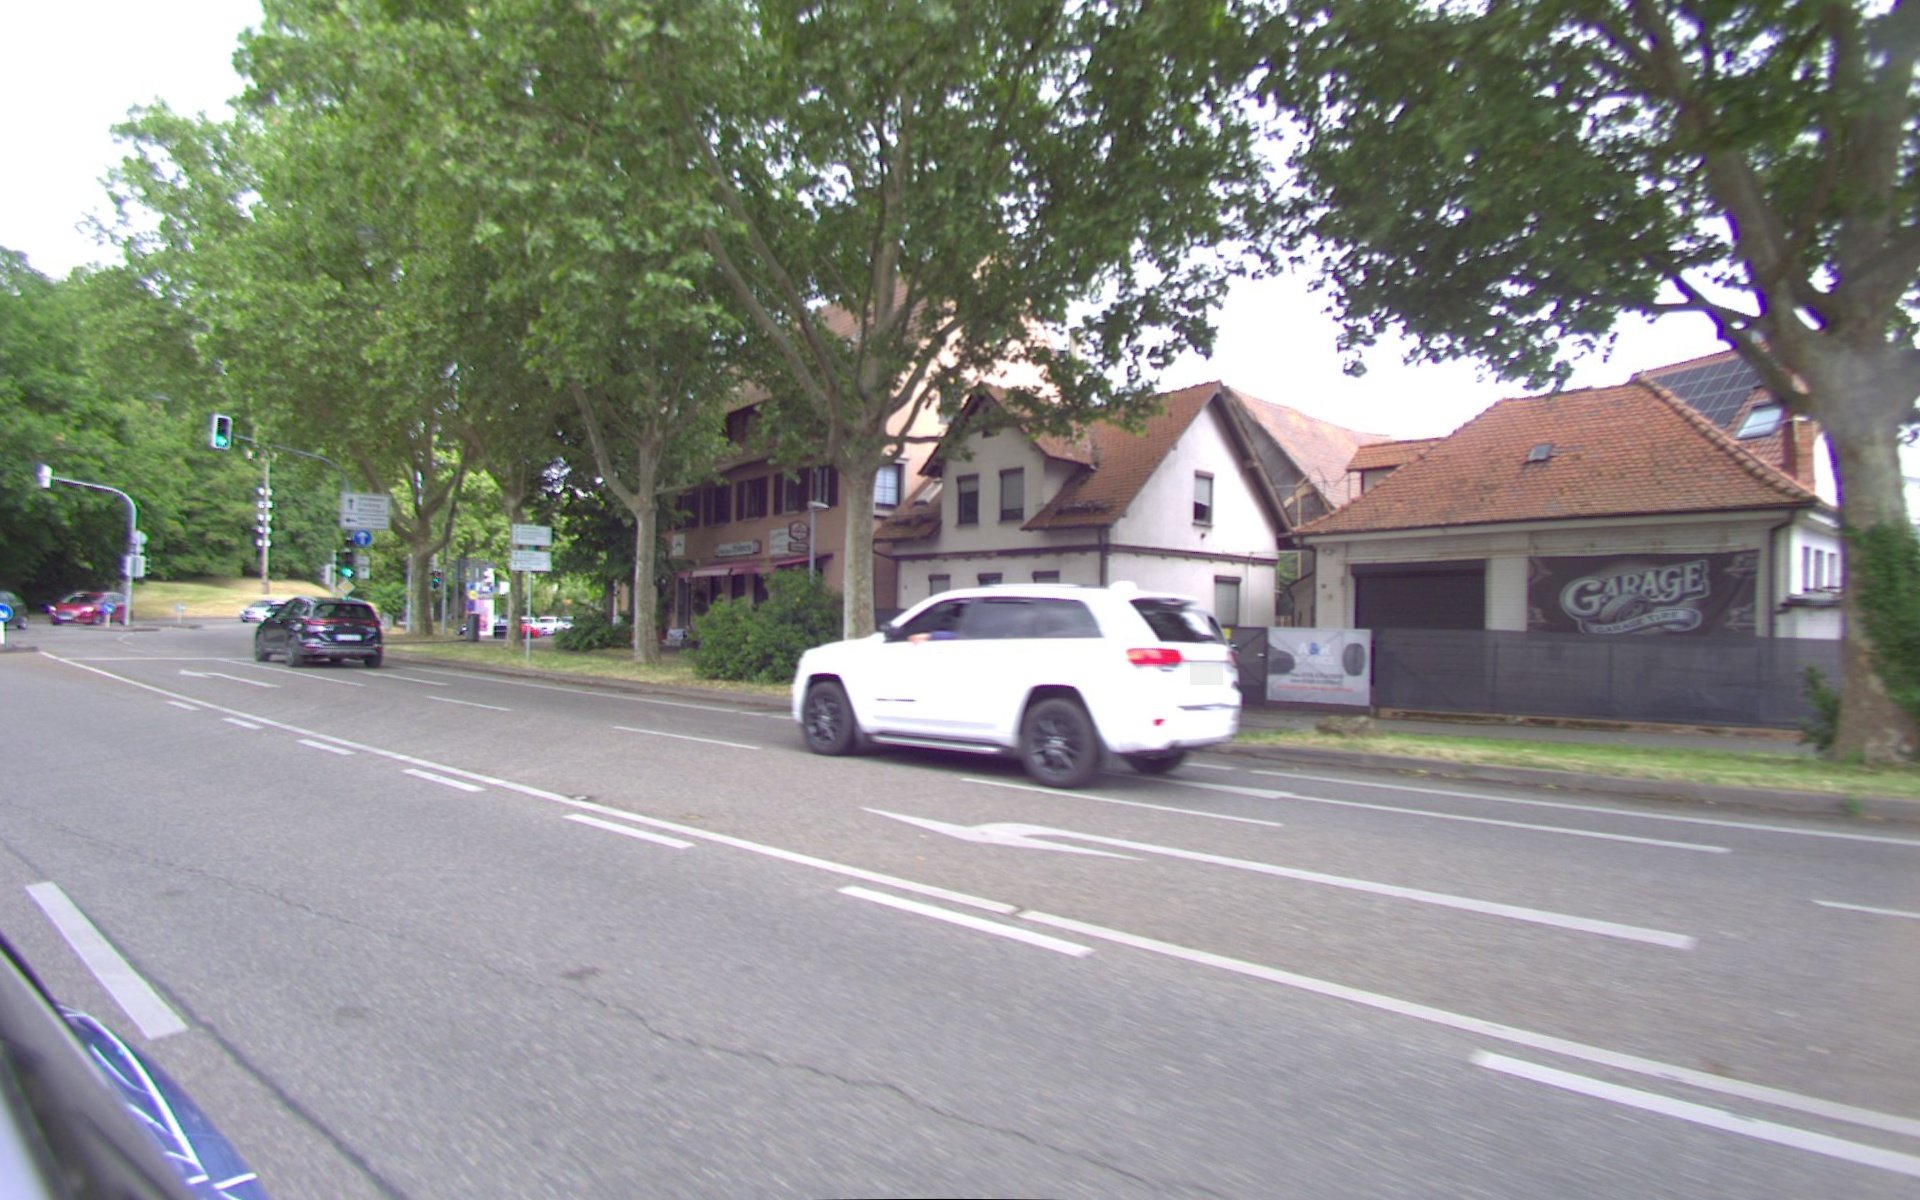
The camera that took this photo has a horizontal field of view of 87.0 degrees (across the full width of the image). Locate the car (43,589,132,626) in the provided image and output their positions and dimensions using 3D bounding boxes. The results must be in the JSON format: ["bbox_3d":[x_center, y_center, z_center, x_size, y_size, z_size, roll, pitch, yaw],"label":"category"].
[{"bbox_3d":[-42.890,0.378,49.852,1.648,1.654,4.112,2,-1,-15],"label":"car"}]

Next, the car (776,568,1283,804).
[{"bbox_3d":[0.490,0.731,9.917,4.749,1.777,1.891,-1,-4,40],"label":"car"}]

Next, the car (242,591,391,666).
[{"bbox_3d":[-15.567,0.683,24.393,4.413,1.599,1.777,0,-4,41],"label":"car"}]

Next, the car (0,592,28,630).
[{"bbox_3d":[-39.008,0.405,39.995,1.702,1.532,4.013,2,-1,-19],"label":"car"}]

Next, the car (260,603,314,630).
[{"bbox_3d":[-39.299,0.956,59.163,1.737,1.477,4.035,3,-2,-21],"label":"car"}]

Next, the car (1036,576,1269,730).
[{"bbox_3d":[3.186,0.824,15.627,2.075,1.946,5.193,1,-3,28],"label":"car"}]

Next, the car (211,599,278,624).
[{"bbox_3d":[-46.813,0.769,66.289,1.757,1.580,4.004,2,-1,-5],"label":"car"}]

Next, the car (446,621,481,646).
[{"bbox_3d":[-28.569,1.914,58.298,1.458,1.320,3.410,3,-3,-21],"label":"car"}]
